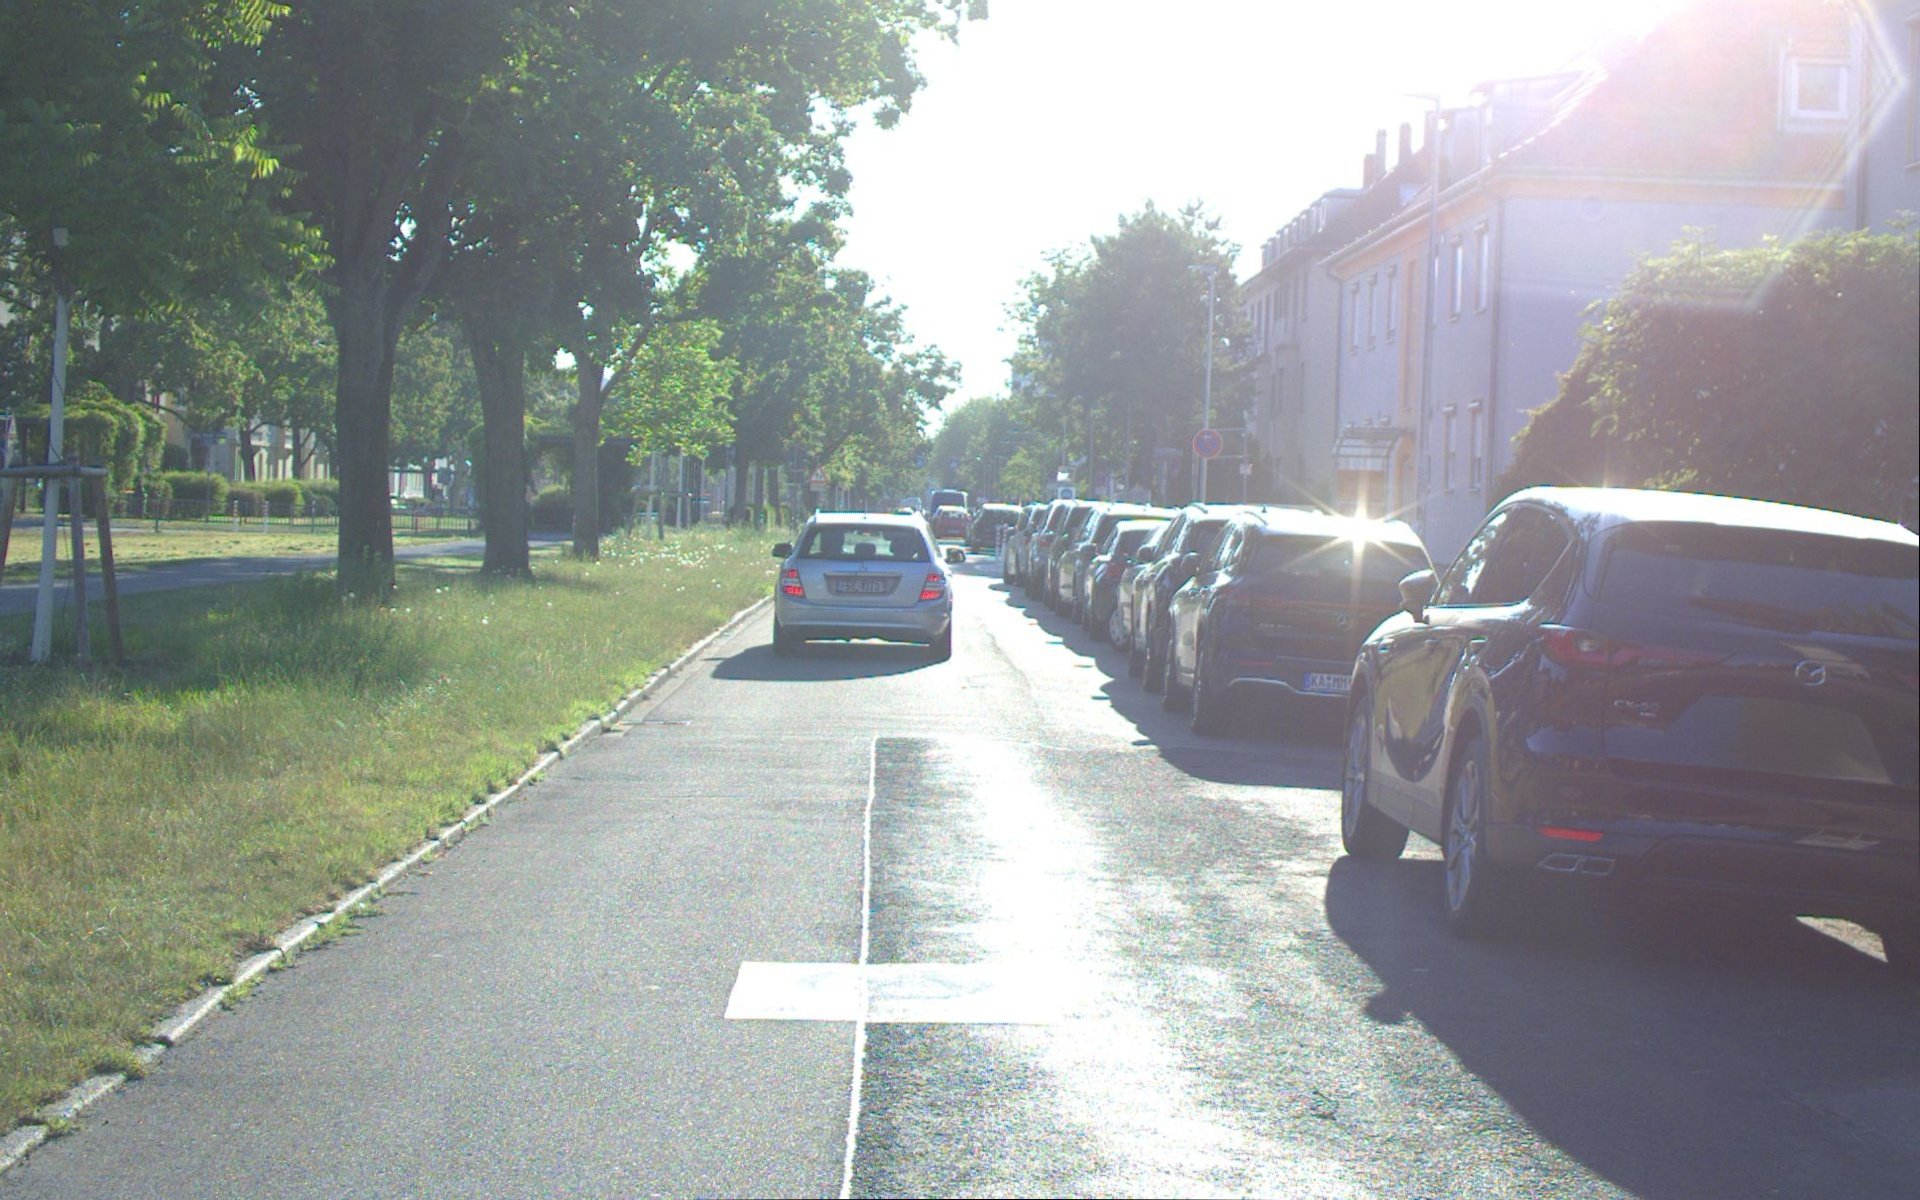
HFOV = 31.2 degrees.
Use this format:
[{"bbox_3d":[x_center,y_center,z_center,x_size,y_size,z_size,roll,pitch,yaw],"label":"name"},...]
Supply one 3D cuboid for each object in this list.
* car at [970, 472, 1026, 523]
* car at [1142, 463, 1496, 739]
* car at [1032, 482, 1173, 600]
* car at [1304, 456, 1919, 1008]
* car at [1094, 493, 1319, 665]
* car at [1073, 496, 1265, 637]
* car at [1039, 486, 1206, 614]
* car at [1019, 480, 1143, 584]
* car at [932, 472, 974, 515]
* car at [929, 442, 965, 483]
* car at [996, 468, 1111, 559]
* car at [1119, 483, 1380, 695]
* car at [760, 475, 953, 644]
[{"bbox_3d":[1.227,-3.313,111.782,1.721,1.591,4.000,1,1,0],"label":"car"},{"bbox_3d":[2.548,-0.082,25.534,1.933,1.714,4.622,4,2,-1],"label":"car"},{"bbox_3d":[2.129,-0.923,52.419,1.765,1.629,4.765,3,1,-1],"label":"car"},{"bbox_3d":[2.663,0.383,13.841,1.832,1.726,5.033,4,1,-1],"label":"car"},{"bbox_3d":[2.551,-0.270,36.504,1.728,1.543,4.209,6,1,-3],"label":"car"},{"bbox_3d":[2.455,-0.449,41.449,1.993,1.457,4.562,3,2,0],"label":"car"},{"bbox_3d":[2.153,-0.718,46.612,1.724,1.555,4.418,2,2,-4],"label":"car"},{"bbox_3d":[1.996,-1.167,57.852,1.777,1.637,4.757,1,2,-1],"label":"car"},{"bbox_3d":[-0.330,-5.290,170.093,1.988,2.016,4.001,2,2,0],"label":"car"},{"bbox_3d":[-0.717,-7.510,188.090,1.861,2.185,5.070,2,2,0],"label":"car"},{"bbox_3d":[1.814,-1.733,68.035,1.716,1.633,4.565,3,2,-4],"label":"car"},{"bbox_3d":[2.543,-0.175,31.309,1.854,1.651,4.820,3,2,0],"label":"car"},{"bbox_3d":[-0.996,-0.461,34.778,1.823,1.561,4.001,1,3,0],"label":"car"}]
